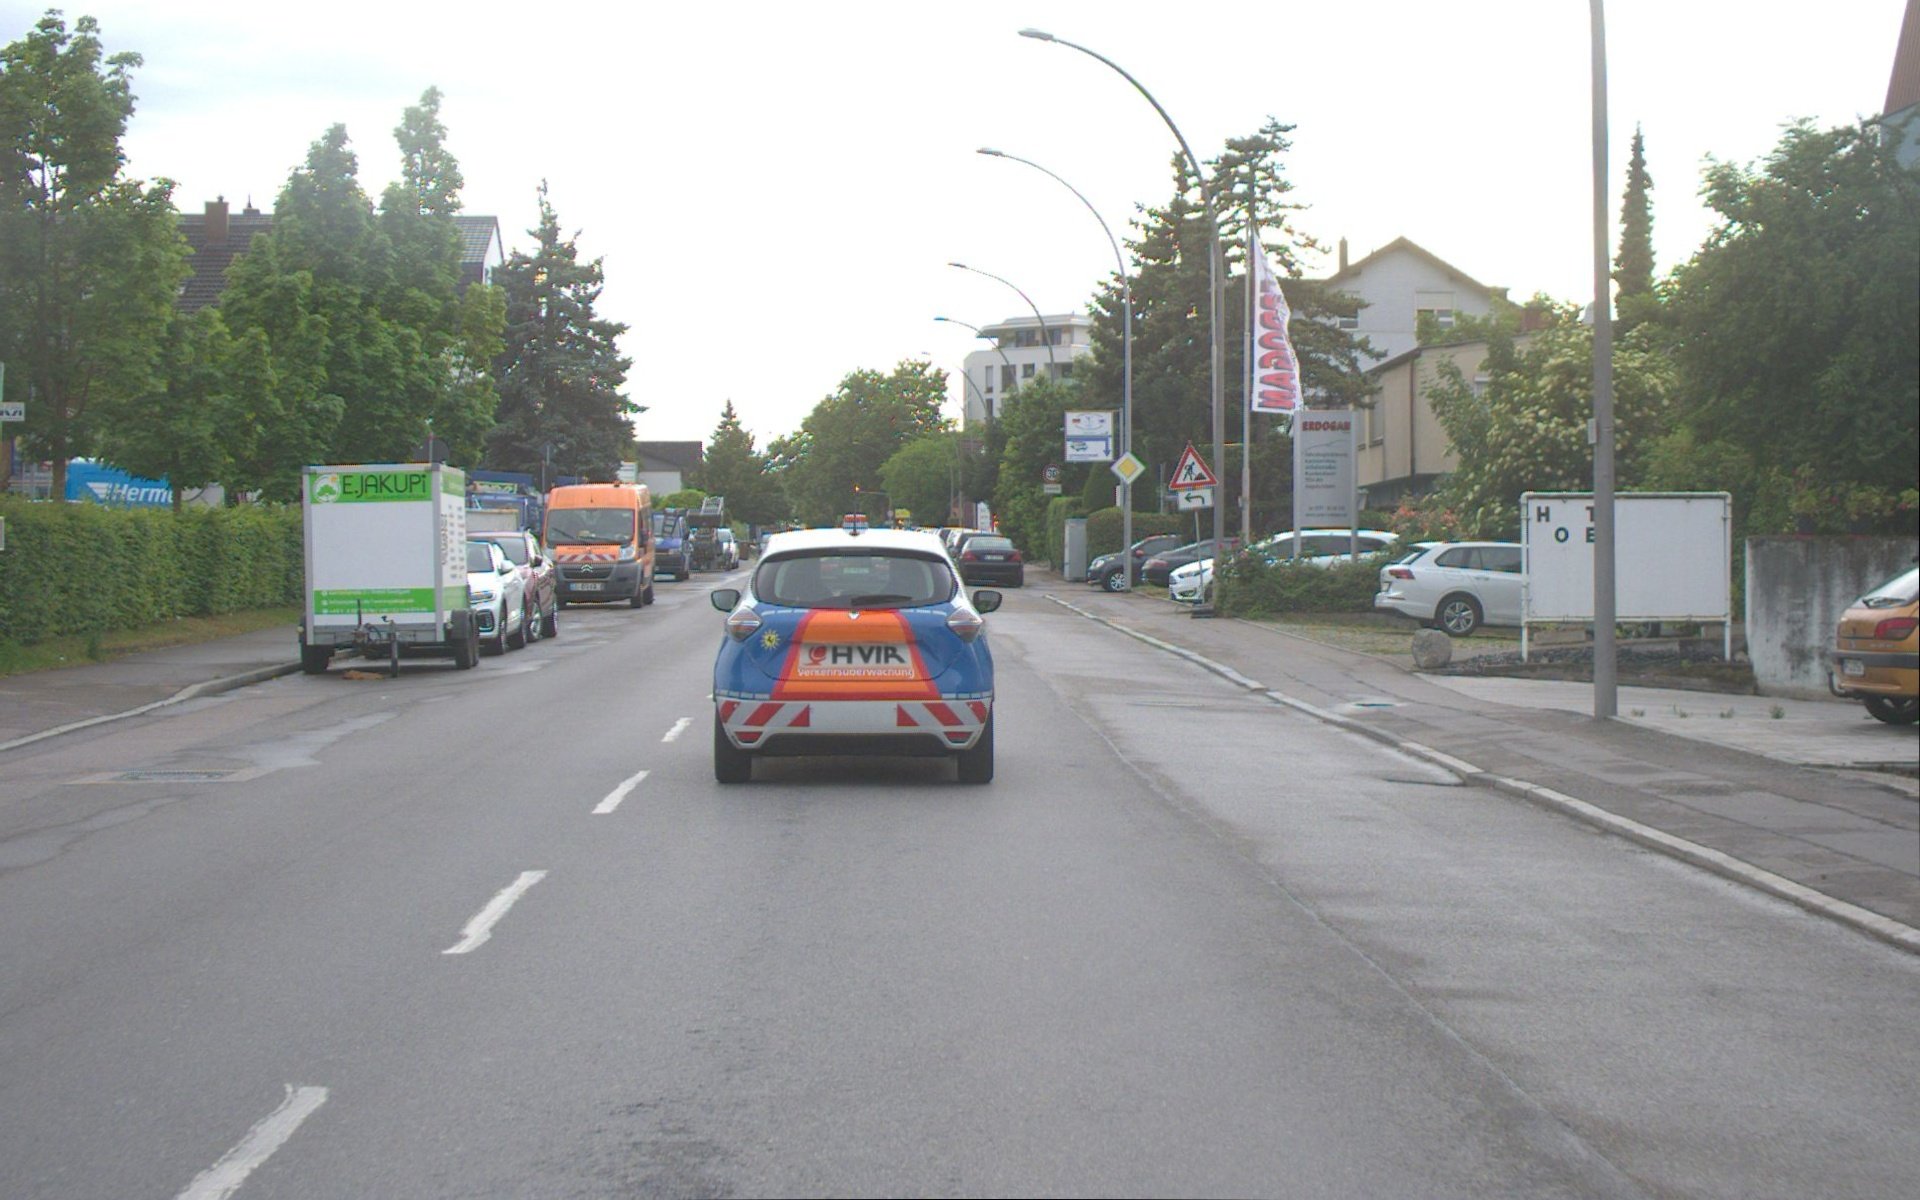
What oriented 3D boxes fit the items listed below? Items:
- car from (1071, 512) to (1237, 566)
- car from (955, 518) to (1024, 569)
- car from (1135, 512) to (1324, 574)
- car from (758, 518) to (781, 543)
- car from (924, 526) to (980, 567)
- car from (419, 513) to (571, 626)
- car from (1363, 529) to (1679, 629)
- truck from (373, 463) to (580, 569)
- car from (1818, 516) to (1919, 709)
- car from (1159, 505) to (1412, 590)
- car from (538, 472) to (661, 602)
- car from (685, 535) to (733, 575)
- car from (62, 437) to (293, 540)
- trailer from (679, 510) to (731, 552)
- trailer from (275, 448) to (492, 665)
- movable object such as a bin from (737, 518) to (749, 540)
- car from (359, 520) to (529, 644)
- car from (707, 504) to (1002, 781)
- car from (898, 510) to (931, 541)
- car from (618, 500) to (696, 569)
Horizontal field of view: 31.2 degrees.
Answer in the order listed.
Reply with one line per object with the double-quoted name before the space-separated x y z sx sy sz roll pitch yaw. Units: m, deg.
"car" 4.921 -1.545 87.481 3.986 1.262 1.951 1 1 -3
"car" 0.772 -1.540 92.684 1.589 1.336 4.093 1 1 -3
"car" 5.921 -1.257 75.825 3.987 1.262 1.951 1 1 0
"car" -11.396 -4.188 205.571 1.386 1.478 3.784 0 1 -3
"car" -0.320 -1.939 124.601 1.711 1.433 4.527 1 1 -4
"car" -6.813 -0.491 50.765 1.805 1.568 4.343 0 2 -2
"car" 8.473 -0.325 52.153 4.415 1.388 1.880 1 1 -2
"truck" -14.709 -2.542 104.813 5.911 3.063 2.450 1 1 -1
"car" 8.789 0.091 26.306 3.986 1.425 1.631 1 1 -3
"car" 5.901 -0.957 62.626 4.337 1.470 1.903 1 1 -2
"car" -7.315 -1.325 70.248 2.124 2.529 6.023 0 2 -2
"car" -9.262 -1.680 127.226 1.557 1.428 4.000 1 1 -2
"car" -16.197 -2.294 71.340 4.306 2.007 2.063 1 1 -1
"trailer" -8.841 -2.418 119.577 1.717 1.256 5.246 1 3 -4
"trailer" -6.620 -0.537 39.907 1.812 2.306 4.731 -2 2 -2
"movable object such as a bin" -12.028 -3.924 190.558 0.579 1.200 0.319 1 1 -1
"car" -6.732 -0.269 45.190 1.772 1.493 4.137 0 2 -2
"car" -0.693 0.222 21.978 1.731 1.625 3.495 0 1 -2
"car" -2.565 -4.225 195.010 1.650 1.666 4.001 1 1 -3
"car" -8.930 -1.938 101.696 1.993 1.940 5.366 1 1 -2
